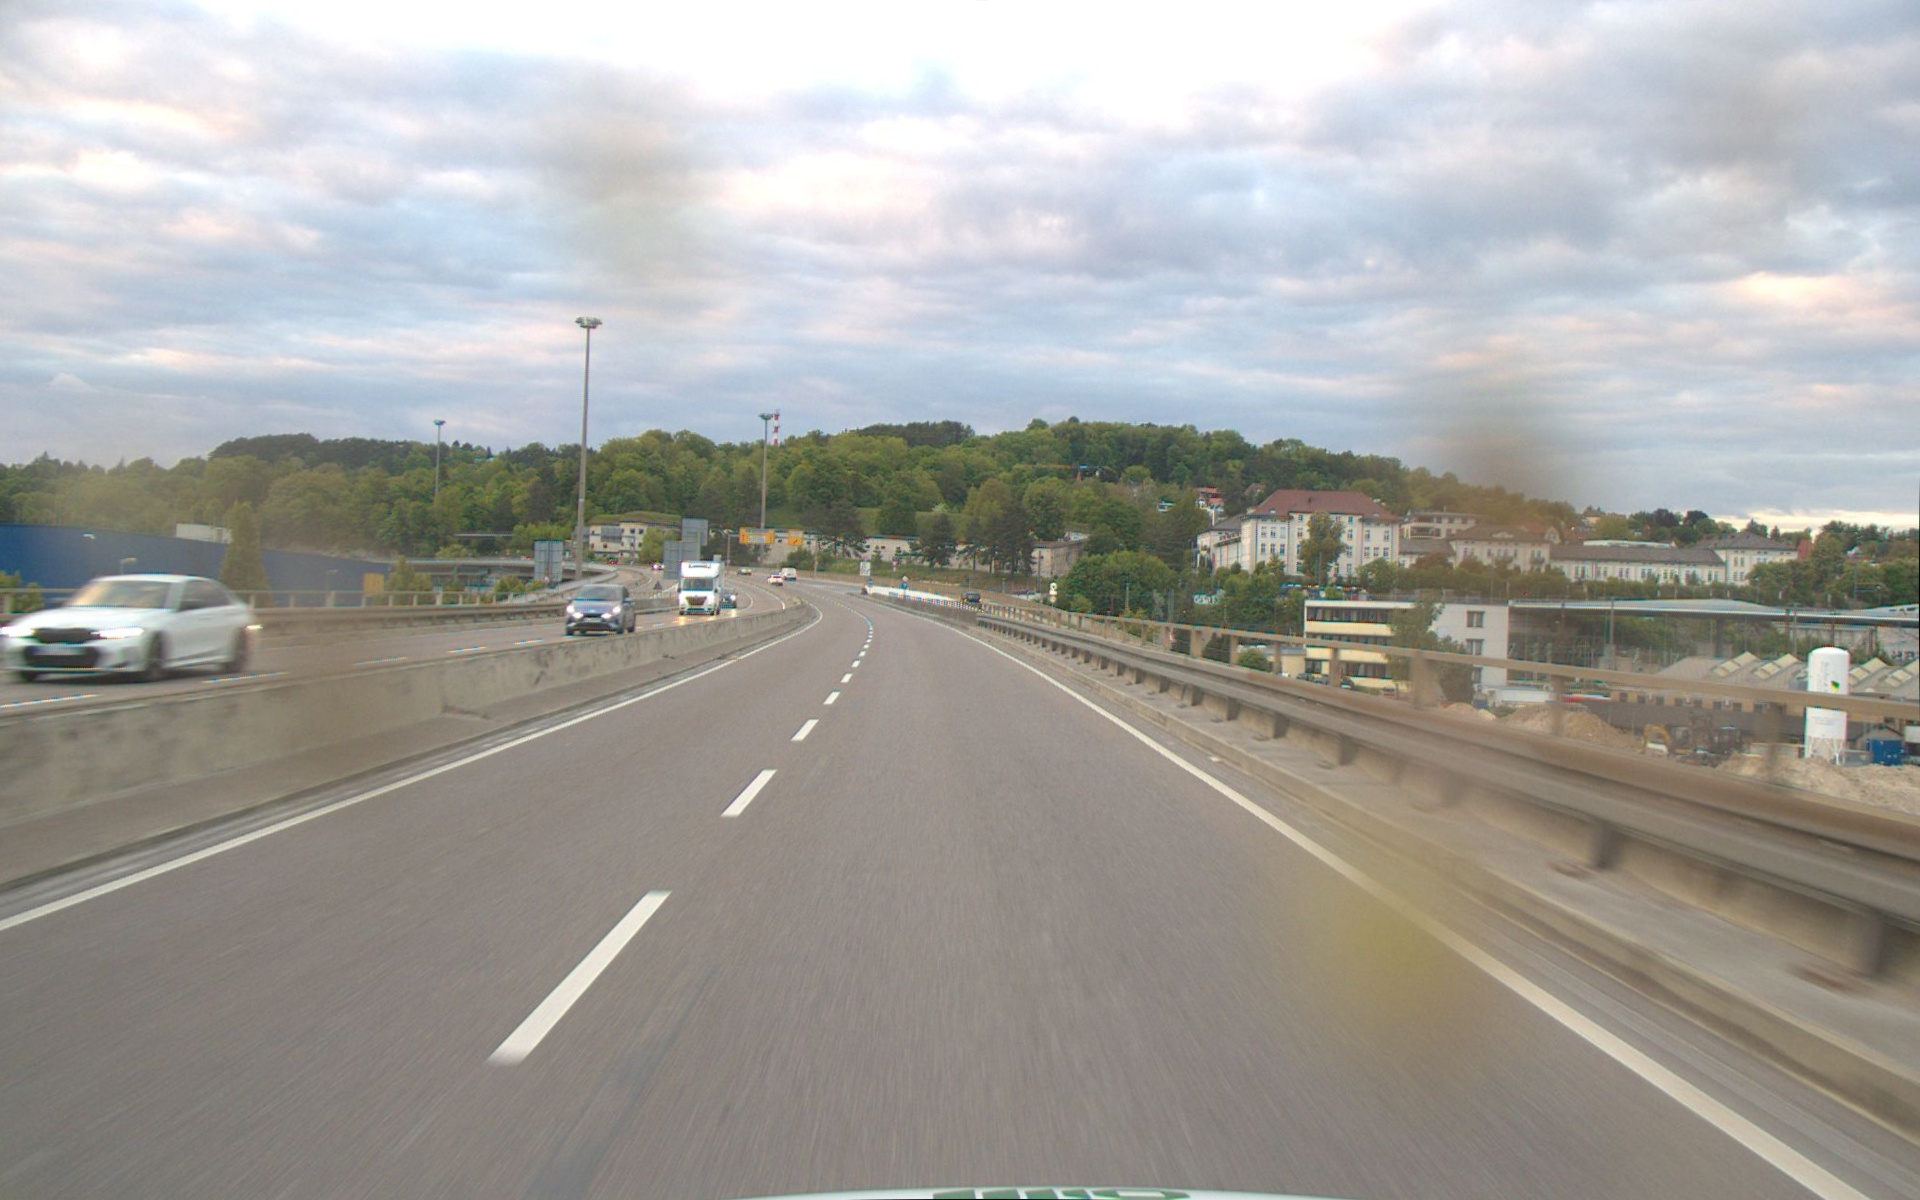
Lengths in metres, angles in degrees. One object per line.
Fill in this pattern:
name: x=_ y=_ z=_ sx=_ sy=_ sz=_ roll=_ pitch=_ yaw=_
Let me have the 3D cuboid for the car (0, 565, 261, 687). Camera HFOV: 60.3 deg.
car: x=-11.641 y=0.315 z=23.162 sx=1.794 sy=1.529 sz=4.814 roll=0 pitch=0 yaw=-2

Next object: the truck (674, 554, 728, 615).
truck: x=-15.076 y=-0.864 z=96.620 sx=2.485 sy=3.354 sz=7.440 roll=1 pitch=0 yaw=-4

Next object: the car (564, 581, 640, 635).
car: x=-10.561 y=0.212 z=49.038 sx=1.596 sy=1.466 sz=3.834 roll=1 pitch=1 yaw=-3

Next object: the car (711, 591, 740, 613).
car: x=-18.367 y=0.173 z=129.867 sx=1.938 sy=1.634 sz=4.437 roll=1 pitch=0 yaw=-4

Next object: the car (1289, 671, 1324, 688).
car: x=41.712 y=9.593 z=199.155 sx=3.959 sy=1.592 sz=1.808 roll=6 pitch=2 yaw=-38

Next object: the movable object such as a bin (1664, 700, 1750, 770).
movable object such as a bin: x=55.516 y=10.046 z=123.001 sx=4.868 sy=4.382 sz=2.770 roll=8 pitch=-1 yaw=-19

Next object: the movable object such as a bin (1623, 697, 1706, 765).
movable object such as a bin: x=53.958 y=10.019 z=126.698 sx=4.868 sy=4.382 sz=2.770 roll=8 pitch=-1 yaw=-19

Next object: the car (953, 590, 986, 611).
car: x=0.891 y=0.019 z=161.625 sx=2.264 sy=1.794 sz=4.250 roll=3 pitch=1 yaw=-12

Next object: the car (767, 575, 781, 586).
car: x=-25.908 y=-2.722 z=230.328 sx=1.603 sy=1.412 sz=3.987 roll=0 pitch=2 yaw=-13
